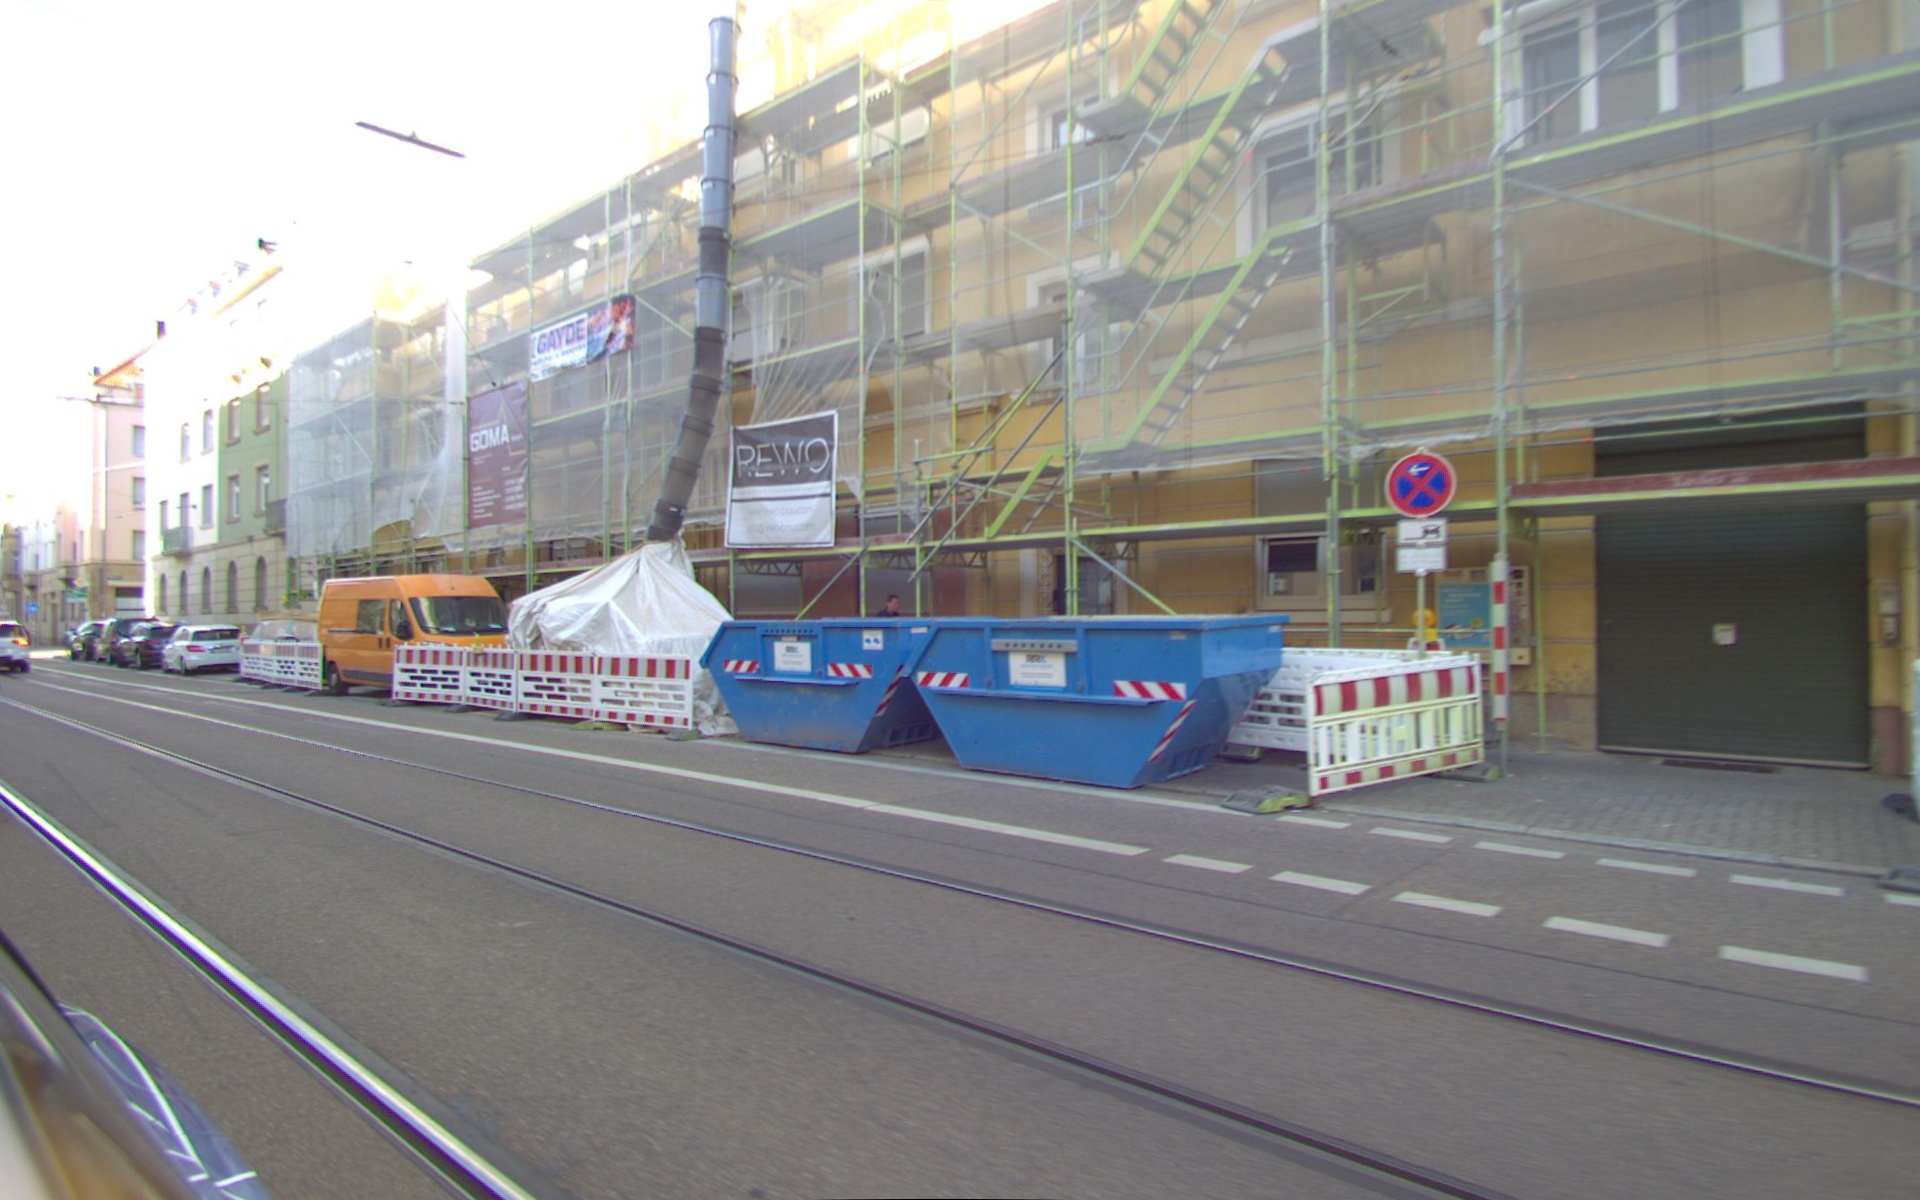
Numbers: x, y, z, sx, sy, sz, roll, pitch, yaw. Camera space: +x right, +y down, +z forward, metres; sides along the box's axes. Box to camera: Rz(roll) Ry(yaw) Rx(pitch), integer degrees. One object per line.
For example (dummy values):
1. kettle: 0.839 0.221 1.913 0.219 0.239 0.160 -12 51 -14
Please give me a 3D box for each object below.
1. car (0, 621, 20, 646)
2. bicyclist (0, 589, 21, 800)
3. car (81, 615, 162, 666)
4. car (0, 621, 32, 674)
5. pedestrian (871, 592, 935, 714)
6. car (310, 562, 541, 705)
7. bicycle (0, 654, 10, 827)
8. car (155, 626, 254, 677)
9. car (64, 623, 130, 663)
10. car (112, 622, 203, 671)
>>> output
1. car: -60.428 2.104 63.363 3.766 1.514 1.776 -1 1 40
2. bicyclist: -7.669 0.710 7.638 0.831 1.566 0.850 1 -2 -44
3. car: -33.212 1.574 40.074 3.766 1.860 1.776 -1 1 40
4. car: -31.043 1.504 32.049 4.196 1.580 1.803 -1 1 39
5. pedestrian: -0.824 0.752 14.642 0.716 1.707 0.574 -2 -2 41
6. car: -10.875 0.659 20.357 5.997 2.488 2.097 -2 -2 41
7. bicycle: -7.691 1.028 7.644 0.730 1.186 1.976 1 -2 -44
8. car: -24.163 1.588 32.333 3.998 1.523 1.728 -1 -2 41
9. car: -36.978 1.794 43.355 3.770 1.622 1.774 -2 -1 43
10. car: -28.713 1.617 36.163 4.219 1.590 1.681 -1 1 40
